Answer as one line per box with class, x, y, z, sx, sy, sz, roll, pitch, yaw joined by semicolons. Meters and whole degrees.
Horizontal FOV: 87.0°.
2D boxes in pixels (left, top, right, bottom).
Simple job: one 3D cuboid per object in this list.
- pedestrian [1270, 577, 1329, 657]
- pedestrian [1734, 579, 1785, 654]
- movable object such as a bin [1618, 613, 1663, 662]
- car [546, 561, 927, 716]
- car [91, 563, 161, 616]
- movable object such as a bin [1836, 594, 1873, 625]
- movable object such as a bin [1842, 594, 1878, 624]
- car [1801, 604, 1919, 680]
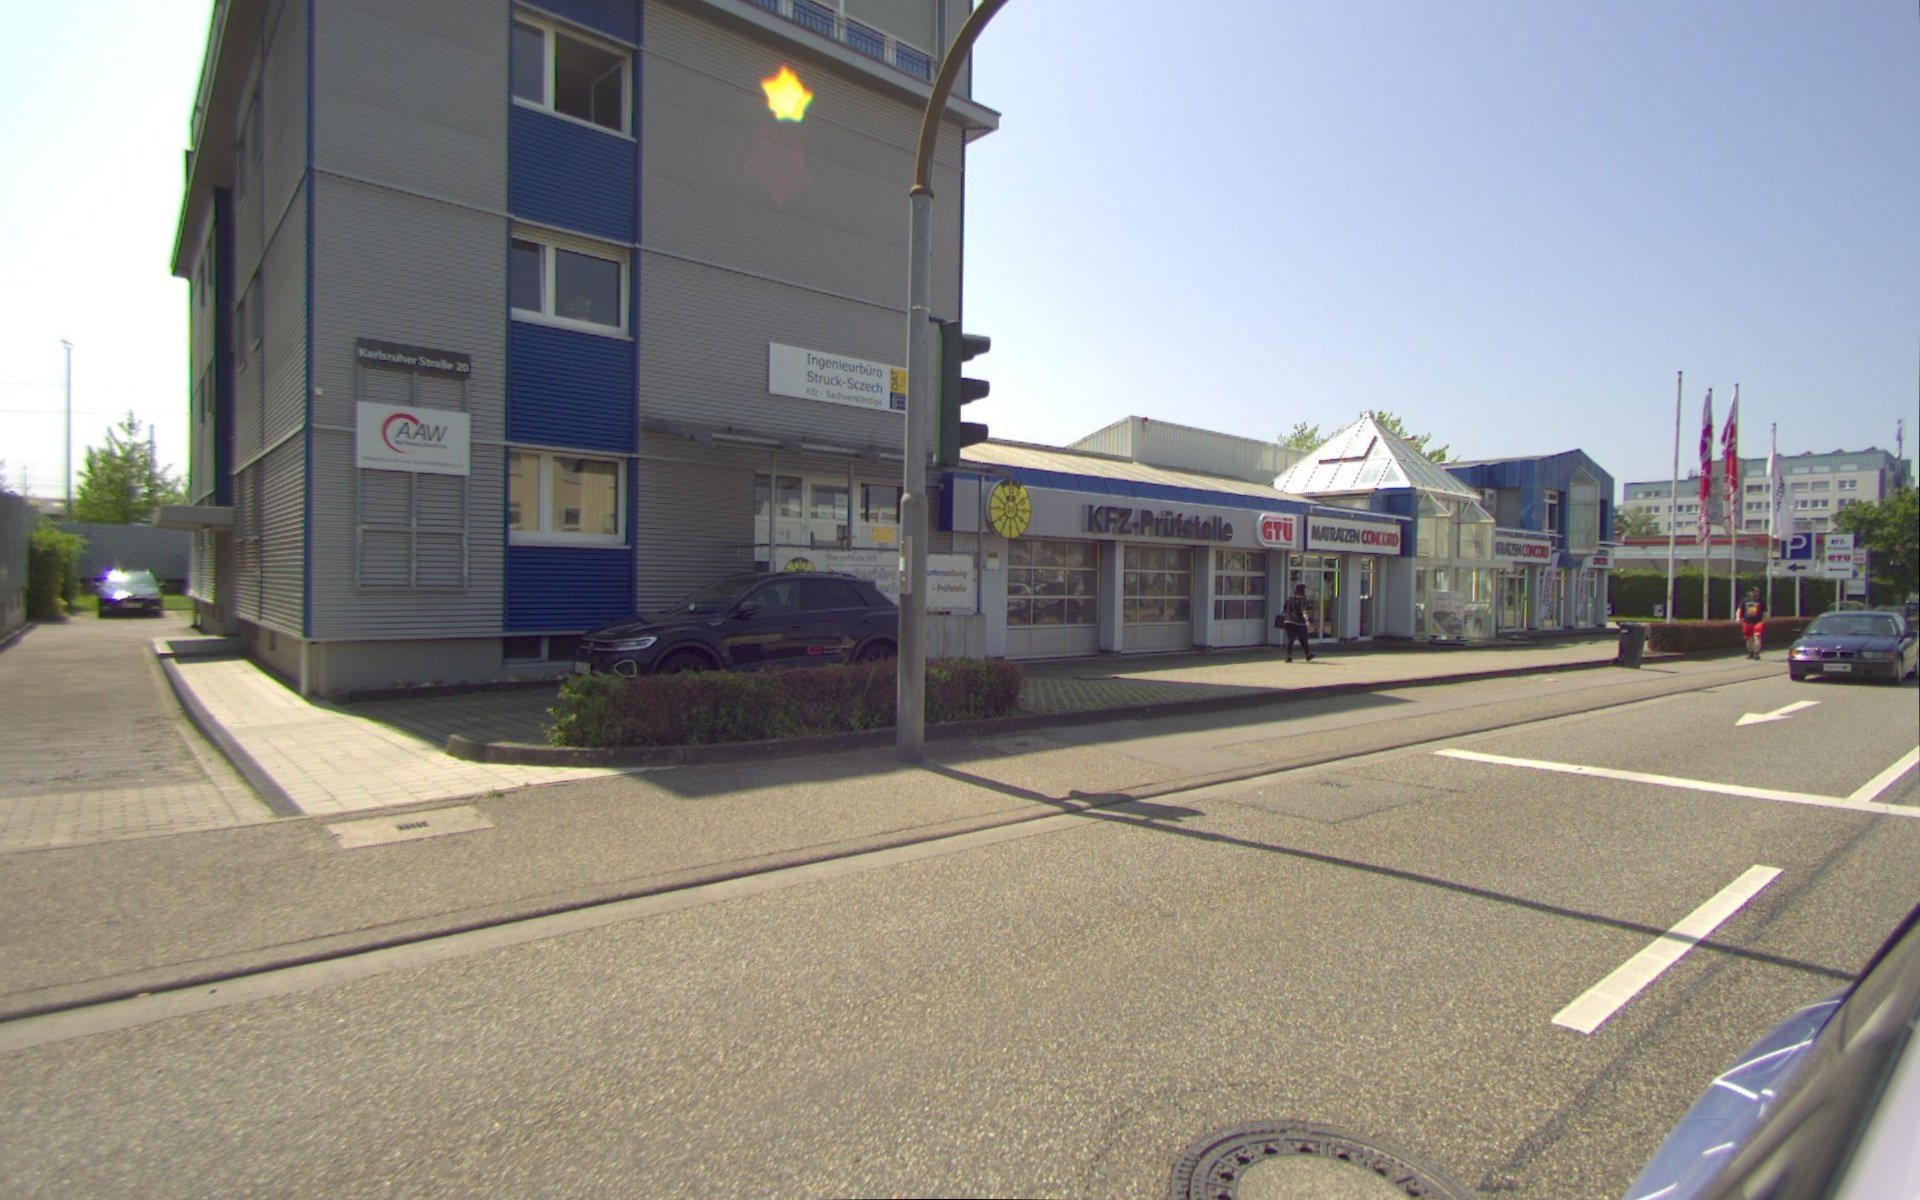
pedestrian;7.161;0.350;21.366;0.837;1.647;0.812;1;1;-37
pedestrian;20.467;0.407;25.916;0.919;1.870;0.787;0;1;-38
movable object such as a bin;13.923;0.761;20.697;0.641;0.930;0.552;0;4;-40
car;-2.575;0.381;12.200;4.123;1.551;1.847;0;0;-41
car;-27.803;-0.388;33.700;1.694;1.609;3.859;0;2;-41
movable object such as a bin;44.609;0.449;50.480;1.463;1.488;1.133;0;1;-40
movable object such as a bin;45.806;0.439;51.508;1.463;1.488;1.133;0;1;-40
car;18.098;0.759;20.068;3.691;1.356;1.630;0;0;-41
